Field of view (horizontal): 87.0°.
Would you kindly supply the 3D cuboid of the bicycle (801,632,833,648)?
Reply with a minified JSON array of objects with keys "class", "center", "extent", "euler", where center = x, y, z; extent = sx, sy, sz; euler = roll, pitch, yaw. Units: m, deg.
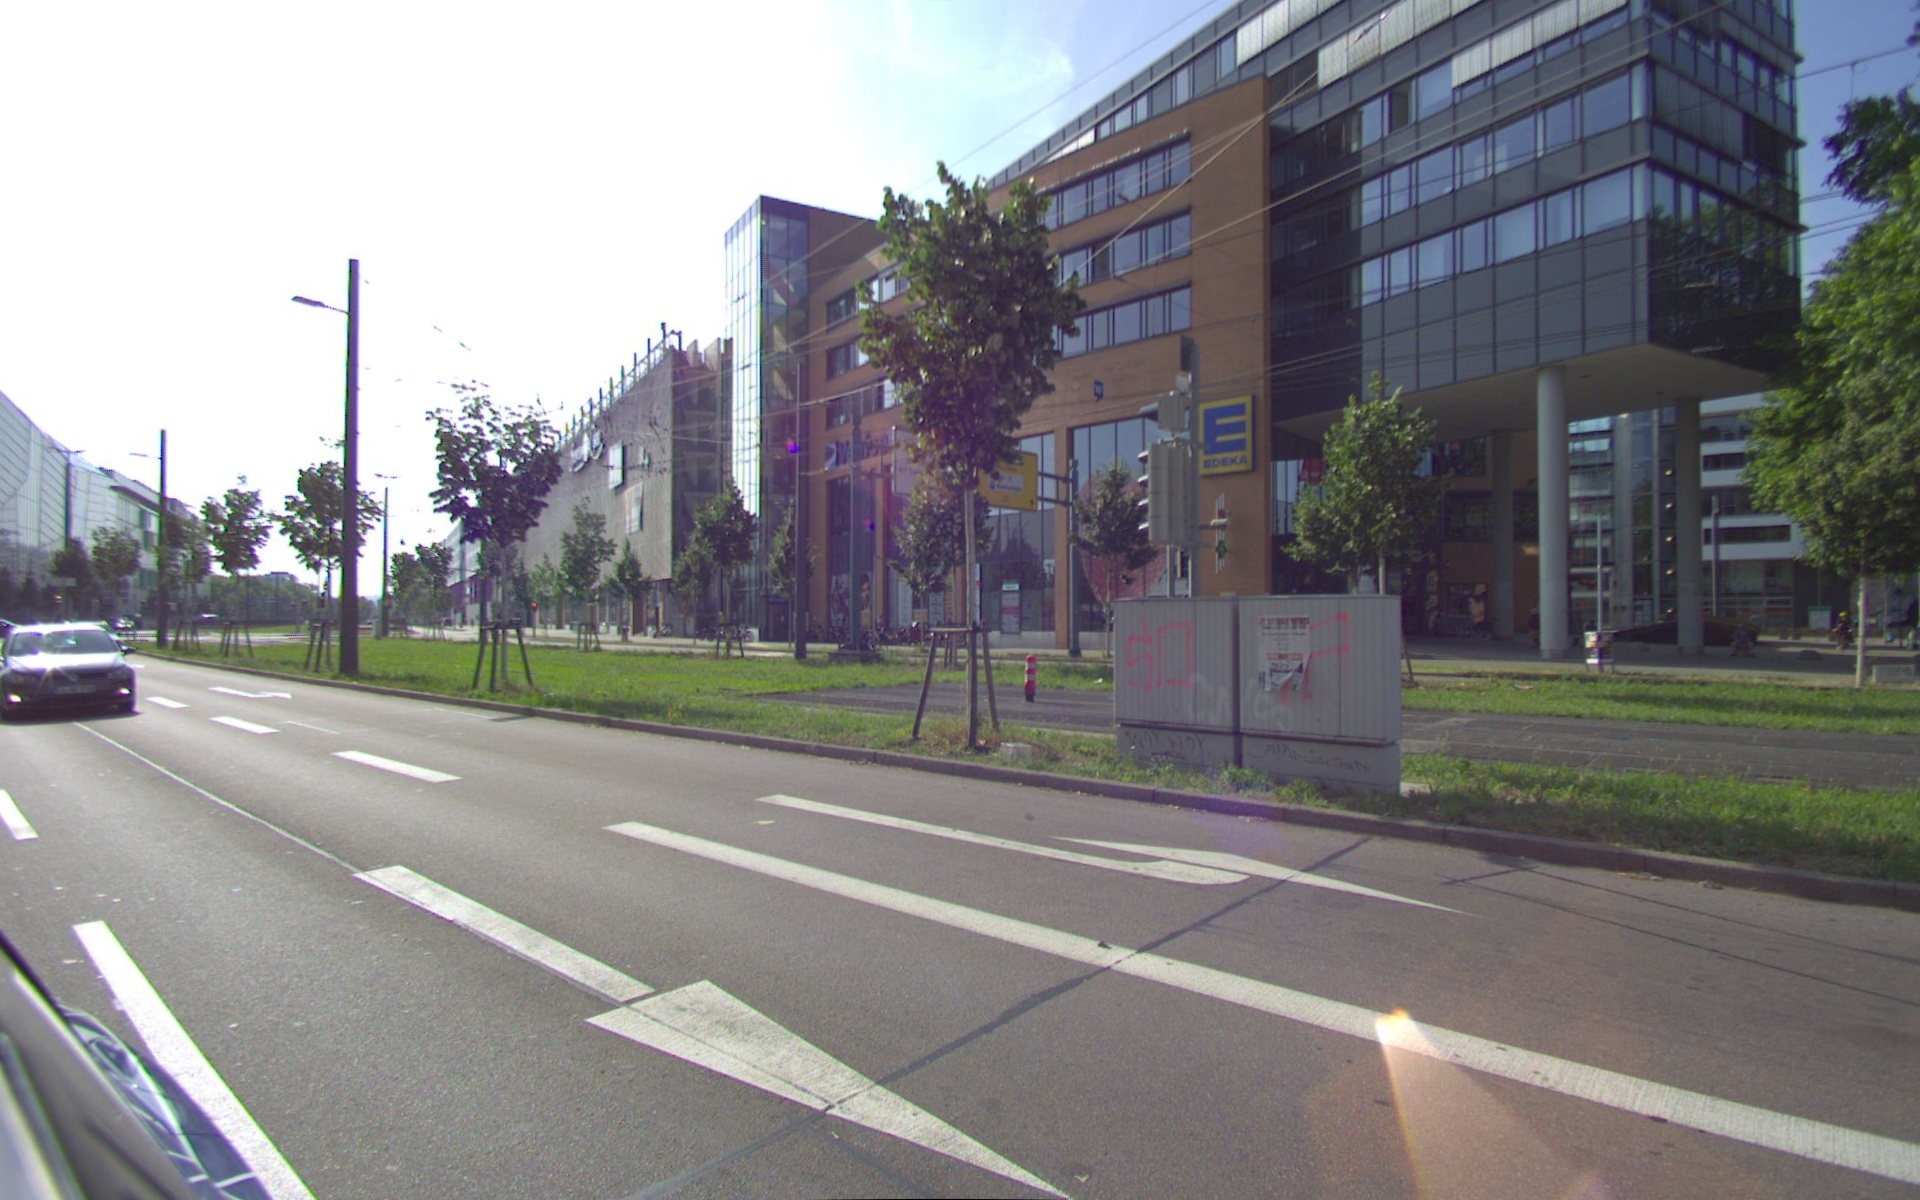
[{"class":"bicycle","center":[-9.048,2.523,64.086],"extent":[2.021,0.928,0.575],"euler":[1,-2,-36]}]

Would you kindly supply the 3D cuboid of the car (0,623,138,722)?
[{"class":"car","center":[-14.933,1.109,16.689],"extent":[3.895,1.430,1.621],"euler":[-1,-2,43]}]

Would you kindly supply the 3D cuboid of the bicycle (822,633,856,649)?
[{"class":"bicycle","center":[-7.385,2.472,61.653],"extent":[2.021,0.928,0.575],"euler":[1,-2,-36]}]

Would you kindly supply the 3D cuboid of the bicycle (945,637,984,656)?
[{"class":"bicycle","center":[0.244,2.360,51.902],"extent":[2.021,0.928,0.575],"euler":[1,-2,-36]}]

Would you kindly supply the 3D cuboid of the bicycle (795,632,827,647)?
[{"class":"bicycle","center":[-9.505,2.518,64.666],"extent":[2.021,0.928,0.575],"euler":[1,-2,-36]}]

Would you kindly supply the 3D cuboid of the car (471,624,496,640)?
[{"class":"car","center":[-39.167,2.642,83.212],"extent":[1.347,1.215,2.644],"euler":[1,0,-37]}]

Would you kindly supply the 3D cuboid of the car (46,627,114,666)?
[{"class":"car","center":[-32.876,1.708,37.783],"extent":[3.164,1.353,1.566],"euler":[-1,-2,42]}]

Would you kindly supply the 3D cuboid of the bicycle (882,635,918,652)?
[{"class":"bicycle","center":[-3.342,2.416,56.525],"extent":[2.021,0.928,0.575],"euler":[1,-2,-36]}]

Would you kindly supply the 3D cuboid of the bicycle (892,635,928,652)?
[{"class":"bicycle","center":[-2.758,2.384,55.849],"extent":[2.021,0.928,0.575],"euler":[1,-2,-36]}]

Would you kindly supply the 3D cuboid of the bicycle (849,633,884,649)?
[{"class":"bicycle","center":[-5.489,2.404,59.276],"extent":[2.021,0.928,0.575],"euler":[1,-2,-36]}]

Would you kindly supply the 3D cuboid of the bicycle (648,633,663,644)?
[{"class":"bicycle","center":[-23.502,2.970,78.126],"extent":[1.006,0.758,0.362],"euler":[0,-2,-30]}]

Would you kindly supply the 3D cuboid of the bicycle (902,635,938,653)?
[{"class":"bicycle","center":[-2.181,2.374,55.154],"extent":[2.021,0.928,0.575],"euler":[1,-2,-36]}]

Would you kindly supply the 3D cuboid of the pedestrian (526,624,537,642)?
[{"class":"pedestrian","center":[-36.828,2.842,87.050],"extent":[0.751,1.591,0.591],"euler":[1,-2,-35]}]

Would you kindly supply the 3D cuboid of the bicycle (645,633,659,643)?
[{"class":"bicycle","center":[-24.097,2.974,79.163],"extent":[0.989,0.758,0.453],"euler":[0,-2,-30]}]

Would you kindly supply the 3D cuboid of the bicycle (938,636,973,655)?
[{"class":"bicycle","center":[-0.224,2.355,52.473],"extent":[2.021,0.928,0.381],"euler":[1,-2,-36]}]

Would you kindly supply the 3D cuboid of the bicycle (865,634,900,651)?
[{"class":"bicycle","center":[-4.438,2.416,57.858],"extent":[2.021,0.928,0.575],"euler":[1,-2,-36]}]

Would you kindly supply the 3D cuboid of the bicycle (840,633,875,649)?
[{"class":"bicycle","center":[-6.053,2.425,59.943],"extent":[2.021,0.928,0.575],"euler":[1,-2,-36]}]

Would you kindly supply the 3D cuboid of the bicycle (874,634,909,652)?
[{"class":"bicycle","center":[-3.865,2.420,57.210],"extent":[2.021,0.928,0.575],"euler":[1,-2,-36]}]

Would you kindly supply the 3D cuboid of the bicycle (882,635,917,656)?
[{"class":"bicycle","center":[-2.873,2.146,48.053],"extent":[0.710,0.914,1.657],"euler":[-1,-1,43]}]

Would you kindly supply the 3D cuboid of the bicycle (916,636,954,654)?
[{"class":"bicycle","center":[-1.313,2.364,53.711],"extent":[2.021,0.928,0.575],"euler":[1,-2,-36]}]

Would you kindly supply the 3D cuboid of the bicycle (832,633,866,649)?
[{"class":"bicycle","center":[-6.635,2.471,60.795],"extent":[2.021,0.928,0.575],"euler":[1,-2,-36]}]
